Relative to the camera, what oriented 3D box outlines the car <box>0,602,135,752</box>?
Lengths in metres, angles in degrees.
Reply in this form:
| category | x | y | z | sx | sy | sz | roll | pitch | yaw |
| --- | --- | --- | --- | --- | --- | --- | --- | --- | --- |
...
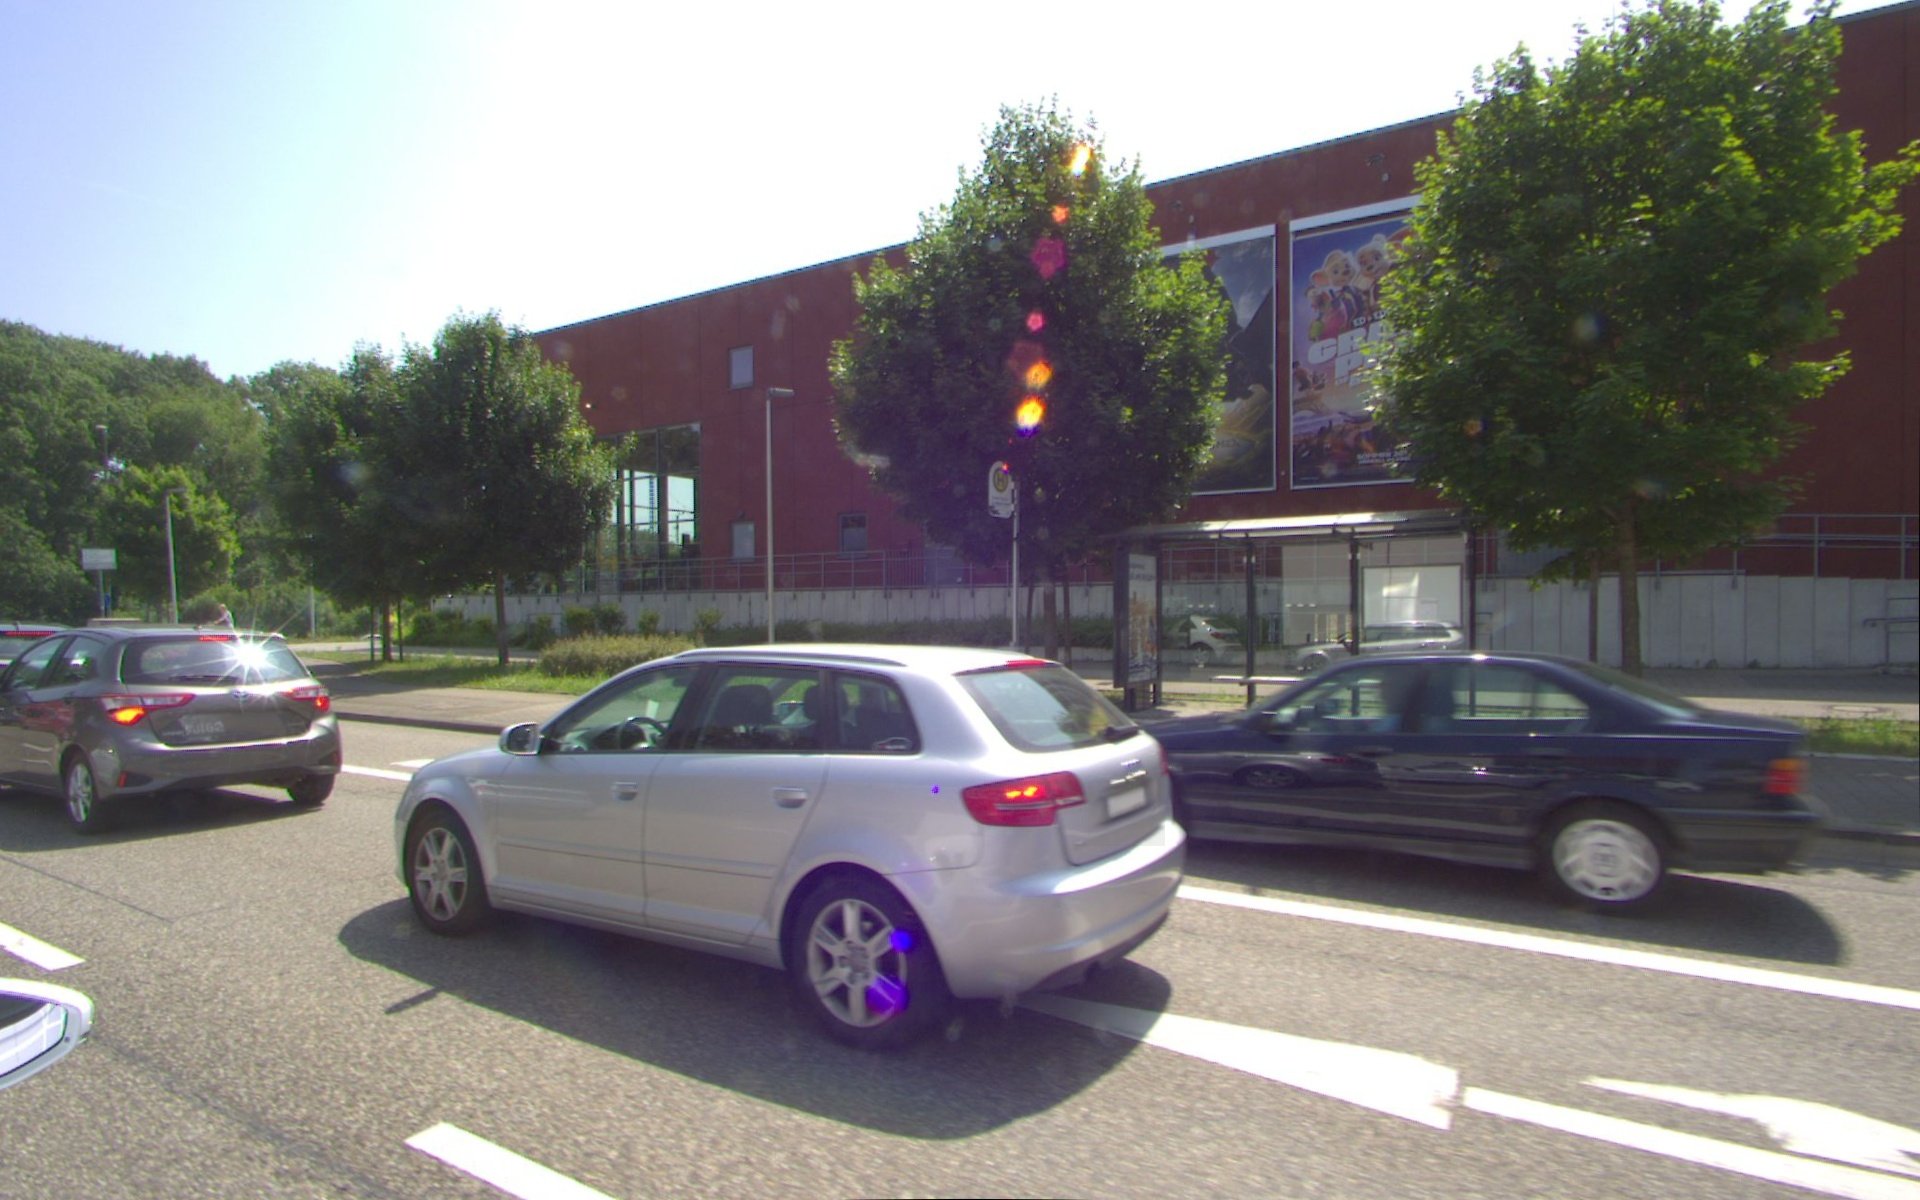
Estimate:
| category | x | y | z | sx | sy | sz | roll | pitch | yaw |
| --- | --- | --- | --- | --- | --- | --- | --- | --- | --- |
| car | -11.848 | 0.849 | 12.058 | 4.031 | 1.614 | 1.709 | -1 | -1 | 31 |

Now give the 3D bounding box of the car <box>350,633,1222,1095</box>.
| category | x | y | z | sx | sy | sz | roll | pitch | yaw |
| --- | --- | --- | --- | --- | --- | --- | --- | --- | --- |
| car | -0.969 | 0.873 | 4.852 | 4.031 | 1.379 | 1.710 | -1 | -2 | 31 |

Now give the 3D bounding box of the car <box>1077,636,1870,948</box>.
| category | x | y | z | sx | sy | sz | roll | pitch | yaw |
| --- | --- | --- | --- | --- | --- | --- | --- | --- | --- |
| car | 2.959 | 0.960 | 6.466 | 4.087 | 1.388 | 1.635 | 0 | -2 | 33 |

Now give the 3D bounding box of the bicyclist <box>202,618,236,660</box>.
| category | x | y | z | sx | sy | sz | roll | pitch | yaw |
| --- | --- | --- | --- | --- | --- | --- | --- | --- | --- |
| bicyclist | -26.723 | 1.400 | 36.096 | 0.591 | 1.458 | 0.824 | 0 | 1 | 35 |

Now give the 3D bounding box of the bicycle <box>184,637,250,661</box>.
| category | x | y | z | sx | sy | sz | roll | pitch | yaw |
| --- | --- | --- | --- | --- | --- | --- | --- | --- | --- |
| bicycle | -26.738 | 1.739 | 36.059 | 0.593 | 0.776 | 1.816 | 0 | 0 | 35 |

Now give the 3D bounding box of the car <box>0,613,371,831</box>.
| category | x | y | z | sx | sy | sz | roll | pitch | yaw |
| --- | --- | --- | --- | --- | --- | --- | --- | --- | --- |
| car | -7.108 | 0.912 | 8.667 | 4.031 | 1.496 | 1.711 | -1 | -4 | 31 |
